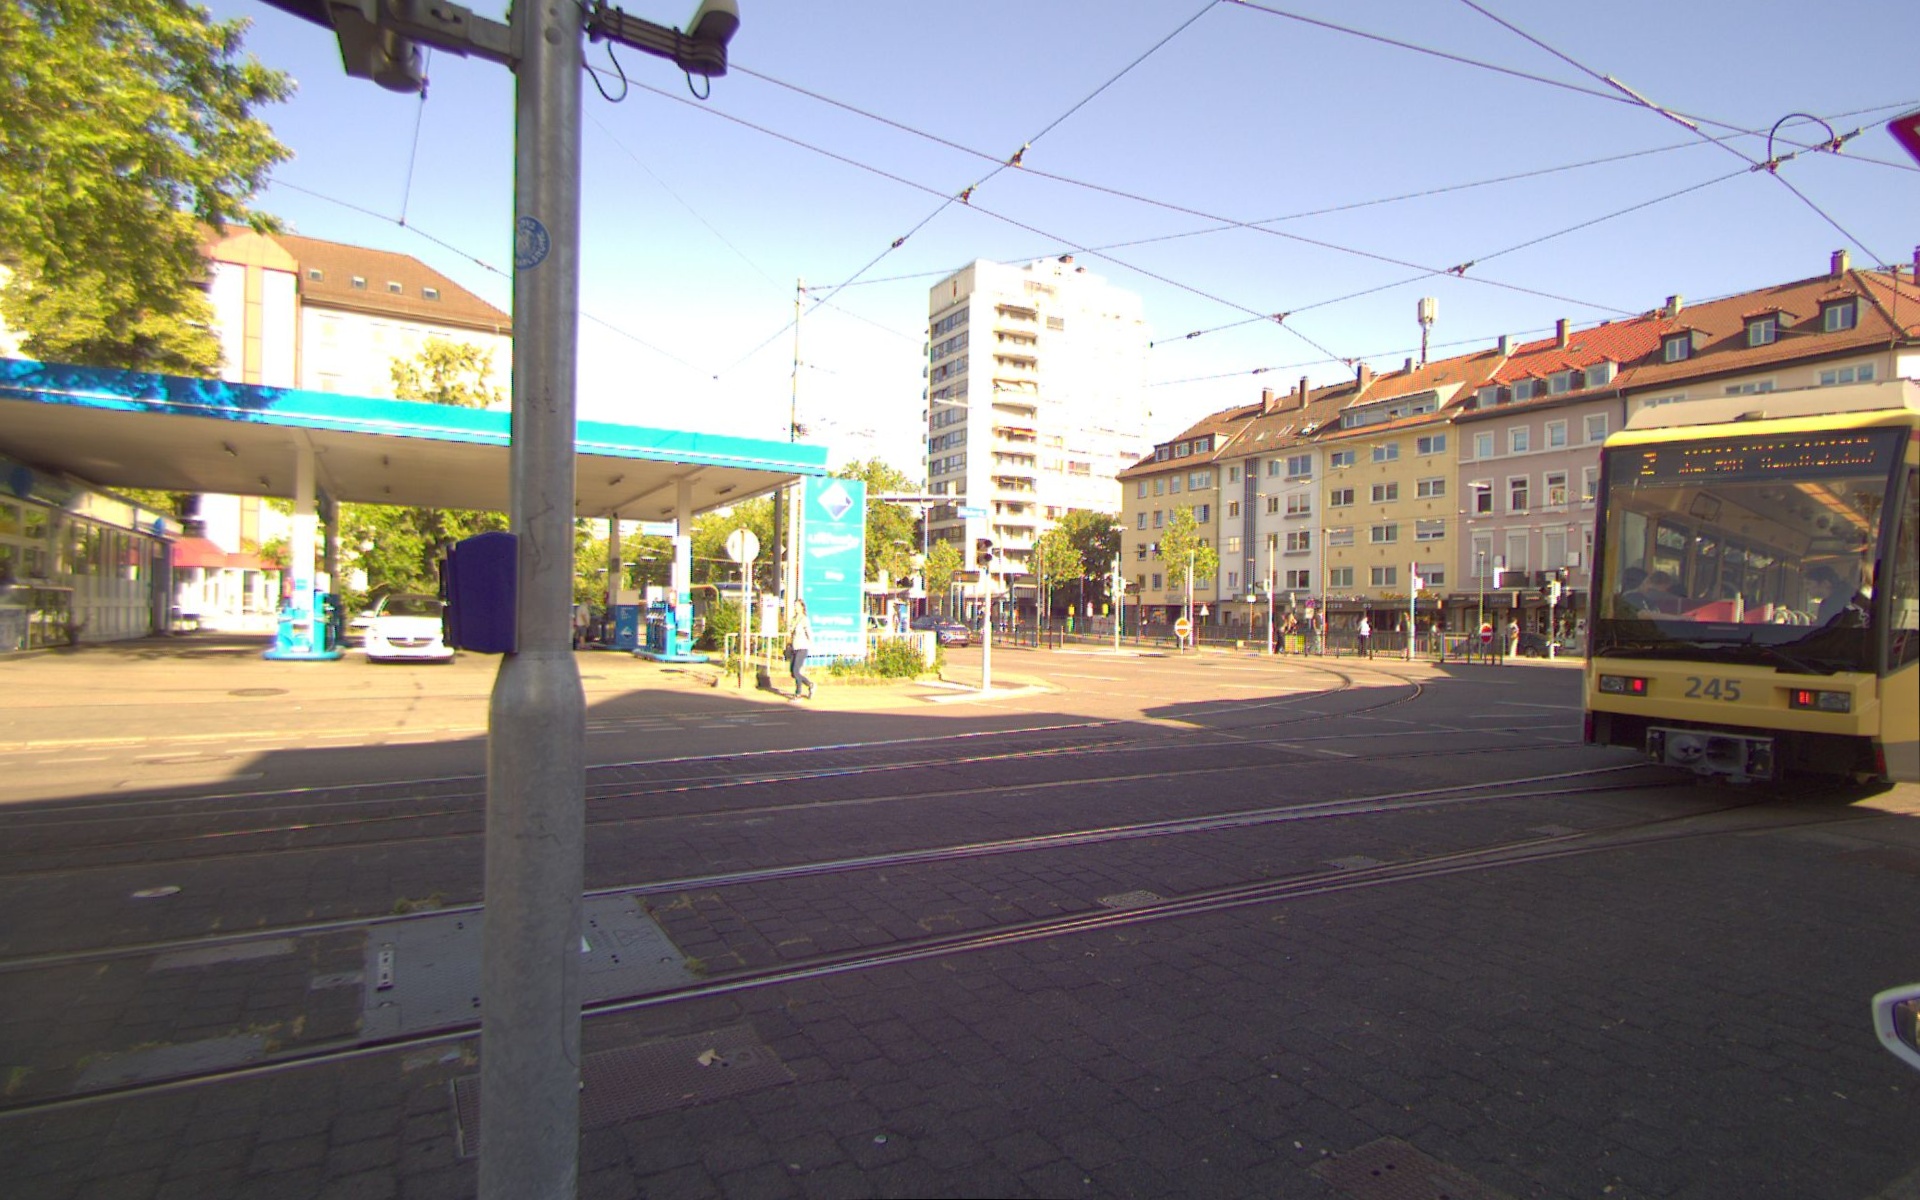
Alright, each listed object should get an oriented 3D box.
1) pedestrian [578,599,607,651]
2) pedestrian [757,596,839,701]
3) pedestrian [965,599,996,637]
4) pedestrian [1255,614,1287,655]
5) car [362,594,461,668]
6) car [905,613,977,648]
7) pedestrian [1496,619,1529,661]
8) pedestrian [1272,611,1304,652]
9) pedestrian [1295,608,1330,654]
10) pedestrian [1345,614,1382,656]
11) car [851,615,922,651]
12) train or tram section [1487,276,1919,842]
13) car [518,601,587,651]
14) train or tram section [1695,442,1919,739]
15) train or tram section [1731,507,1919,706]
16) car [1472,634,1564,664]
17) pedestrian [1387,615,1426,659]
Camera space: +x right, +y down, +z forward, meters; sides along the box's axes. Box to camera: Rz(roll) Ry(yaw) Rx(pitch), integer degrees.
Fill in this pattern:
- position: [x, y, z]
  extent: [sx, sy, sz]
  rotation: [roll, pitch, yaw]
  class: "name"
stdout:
- position: [-11.864, 0.806, 32.422]
  extent: [0.801, 1.647, 1.157]
  rotation: [1, 0, -23]
  class: "pedestrian"
- position: [-2.637, 0.773, 16.395]
  extent: [1.098, 1.641, 0.707]
  rotation: [1, -1, -42]
  class: "pedestrian"
- position: [1.028, 0.922, 50.602]
  extent: [1.156, 1.870, 1.098]
  rotation: [2, -1, -28]
  class: "pedestrian"
- position: [12.565, 1.381, 40.529]
  extent: [0.927, 1.619, 1.005]
  rotation: [0, -1, 38]
  class: "pedestrian"
- position: [-12.308, 0.662, 22.508]
  extent: [1.760, 1.483, 3.968]
  rotation: [1, -1, -30]
  class: "car"
- position: [-0.945, 1.462, 48.267]
  extent: [1.863, 1.601, 3.971]
  rotation: [1, -1, -28]
  class: "car"
- position: [24.148, 1.741, 43.914]
  extent: [0.924, 1.779, 0.934]
  rotation: [1, -1, -30]
  class: "pedestrian"
- position: [13.421, 1.282, 41.100]
  extent: [0.928, 1.619, 1.004]
  rotation: [0, -1, 43]
  class: "pedestrian"
- position: [13.939, 1.219, 39.747]
  extent: [1.002, 1.798, 0.930]
  rotation: [2, -1, -42]
  class: "pedestrian"
- position: [15.745, 1.349, 39.252]
  extent: [0.925, 1.619, 1.007]
  rotation: [1, -1, -13]
  class: "pedestrian"
- position: [-3.479, 1.521, 46.736]
  extent: [1.863, 1.601, 3.971]
  rotation: [1, -1, -28]
  class: "car"
- position: [8.115, -0.183, 9.861]
  extent: [7.906, 3.546, 2.788]
  rotation: [1, -1, -43]
  class: "train or tram section"
- position: [-13.451, 0.830, 33.014]
  extent: [1.725, 1.431, 4.061]
  rotation: [5, -2, -26]
  class: "car"
- position: [13.971, -0.030, 15.501]
  extent: [8.402, 3.546, 2.788]
  rotation: [1, -1, -43]
  class: "train or tram section"
- position: [20.060, 0.230, 23.201]
  extent: [2.732, 3.546, 11.995]
  rotation: [0, -1, 34]
  class: "train or tram section"
- position: [30.425, 2.633, 54.909]
  extent: [1.977, 1.472, 3.966]
  rotation: [1, -1, -31]
  class: "car"
- position: [16.606, 1.366, 37.359]
  extent: [0.924, 1.619, 1.008]
  rotation: [1, -1, -8]
  class: "pedestrian"
